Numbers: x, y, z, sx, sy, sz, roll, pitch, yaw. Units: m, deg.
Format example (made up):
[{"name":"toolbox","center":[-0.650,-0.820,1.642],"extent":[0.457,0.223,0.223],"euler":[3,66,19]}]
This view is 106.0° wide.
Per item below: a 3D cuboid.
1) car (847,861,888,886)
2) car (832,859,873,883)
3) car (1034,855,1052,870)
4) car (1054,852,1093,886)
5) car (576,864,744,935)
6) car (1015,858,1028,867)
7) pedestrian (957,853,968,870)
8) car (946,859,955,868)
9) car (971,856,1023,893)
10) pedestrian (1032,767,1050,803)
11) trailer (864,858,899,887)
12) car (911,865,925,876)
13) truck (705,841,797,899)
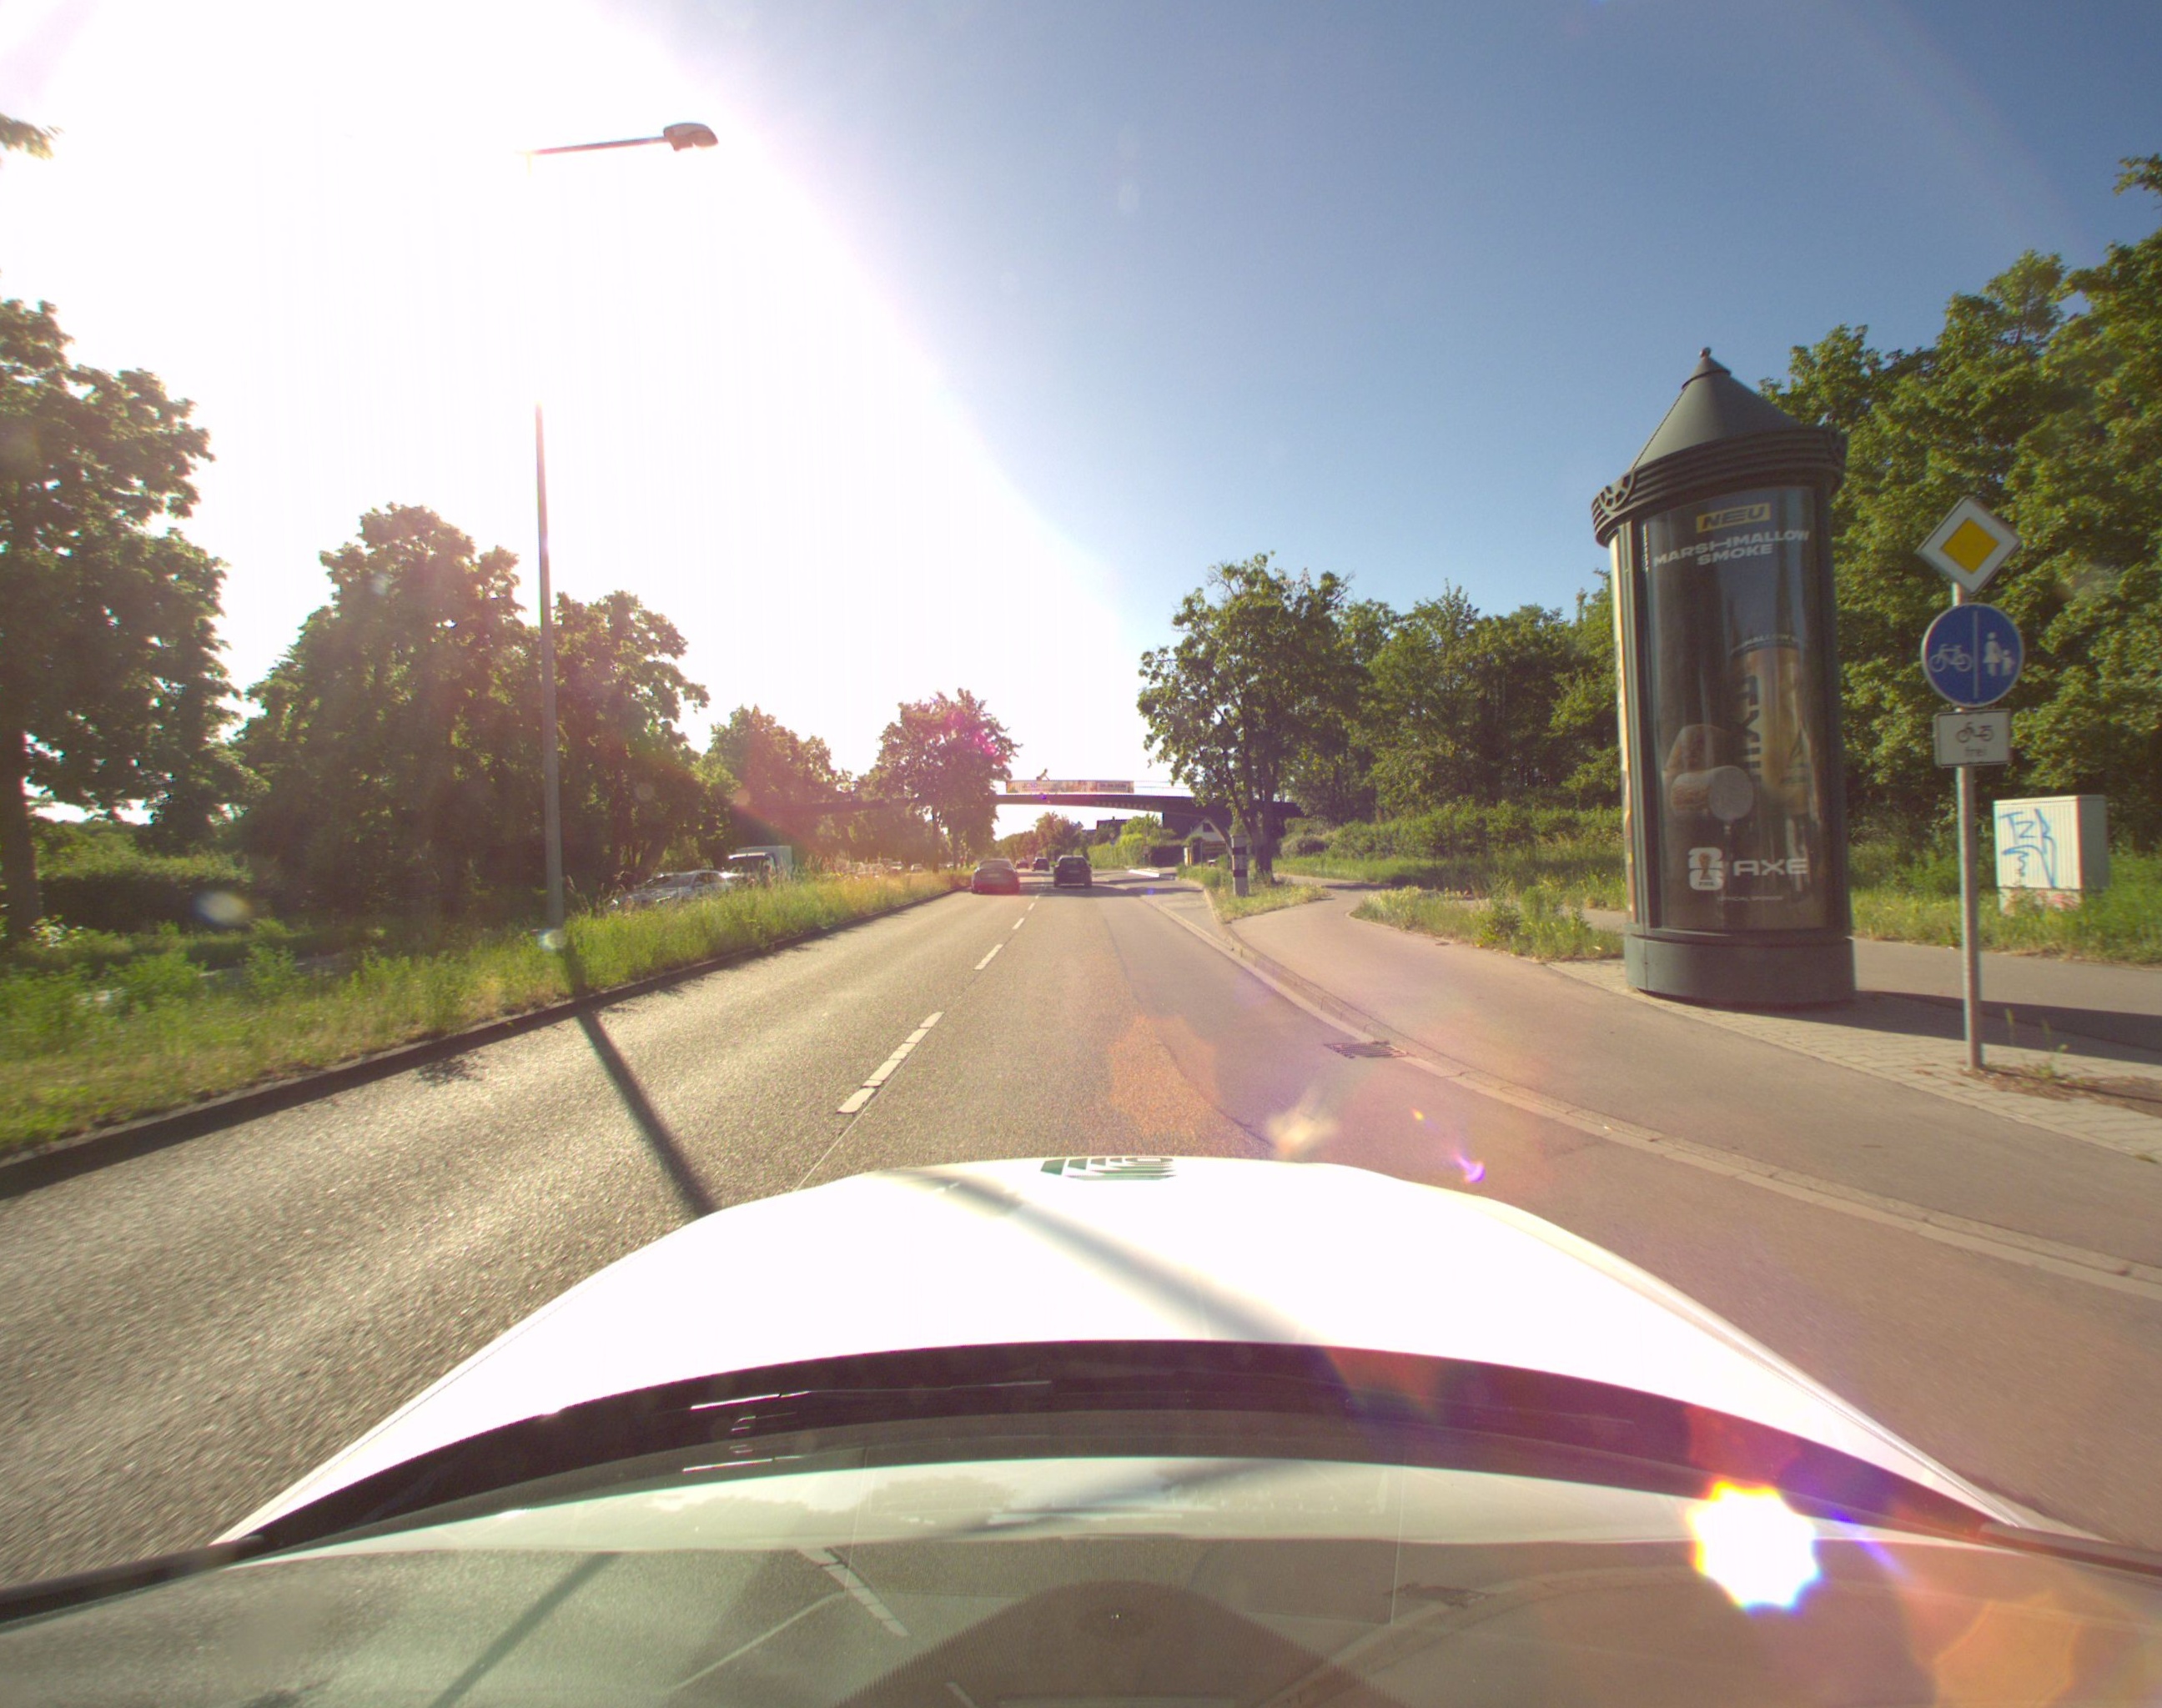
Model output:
[{"name":"car","center":[-14.073,1.262,53.886],"extent":[1.691,1.582,4.021],"euler":[-2,-1,-2]},{"name":"car","center":[-17.411,1.286,62.257],"extent":[1.851,1.606,4.365],"euler":[-4,0,-2]},{"name":"car","center":[-4.320,0.924,91.095],"extent":[1.742,1.597,4.166],"euler":[-2,0,-6]},{"name":"car","center":[-0.413,0.708,38.657],"extent":[1.756,1.559,3.996],"euler":[0,-1,-2]},{"name":"car","center":[-11.943,1.199,23.637],"extent":[1.850,1.606,5.574],"euler":[-4,0,0]},{"name":"car","center":[-9.492,1.355,130.129],"extent":[1.897,1.356,3.990],"euler":[-2,0,-7]},{"name":"pedestrian","center":[-11.880,0.784,81.783],"extent":[0.625,1.696,0.948],"euler":[-2,0,23]},{"name":"car","center":[-26.544,1.877,165.579],"extent":[1.729,1.632,4.187],"euler":[-3,0,-7]},{"name":"car","center":[-3.528,0.819,34.508],"extent":[1.992,1.405,3.992],"euler":[-2,0,-5]},{"name":"pedestrian","center":[-2.525,-4.326,51.134],"extent":[1.064,2.123,0.995],"euler":[-2,0,-5]},{"name":"trailer","center":[-14.189,1.256,58.025],"extent":[1.559,1.910,4.278],"euler":[-2,0,-2]},{"name":"car","center":[-24.638,2.480,123.100],"extent":[1.537,1.431,4.249],"euler":[-3,0,-4]},{"name":"truck","center":[-16.243,0.737,40.493],"extent":[2.166,2.512,5.739],"euler":[-4,0,-1]}]
